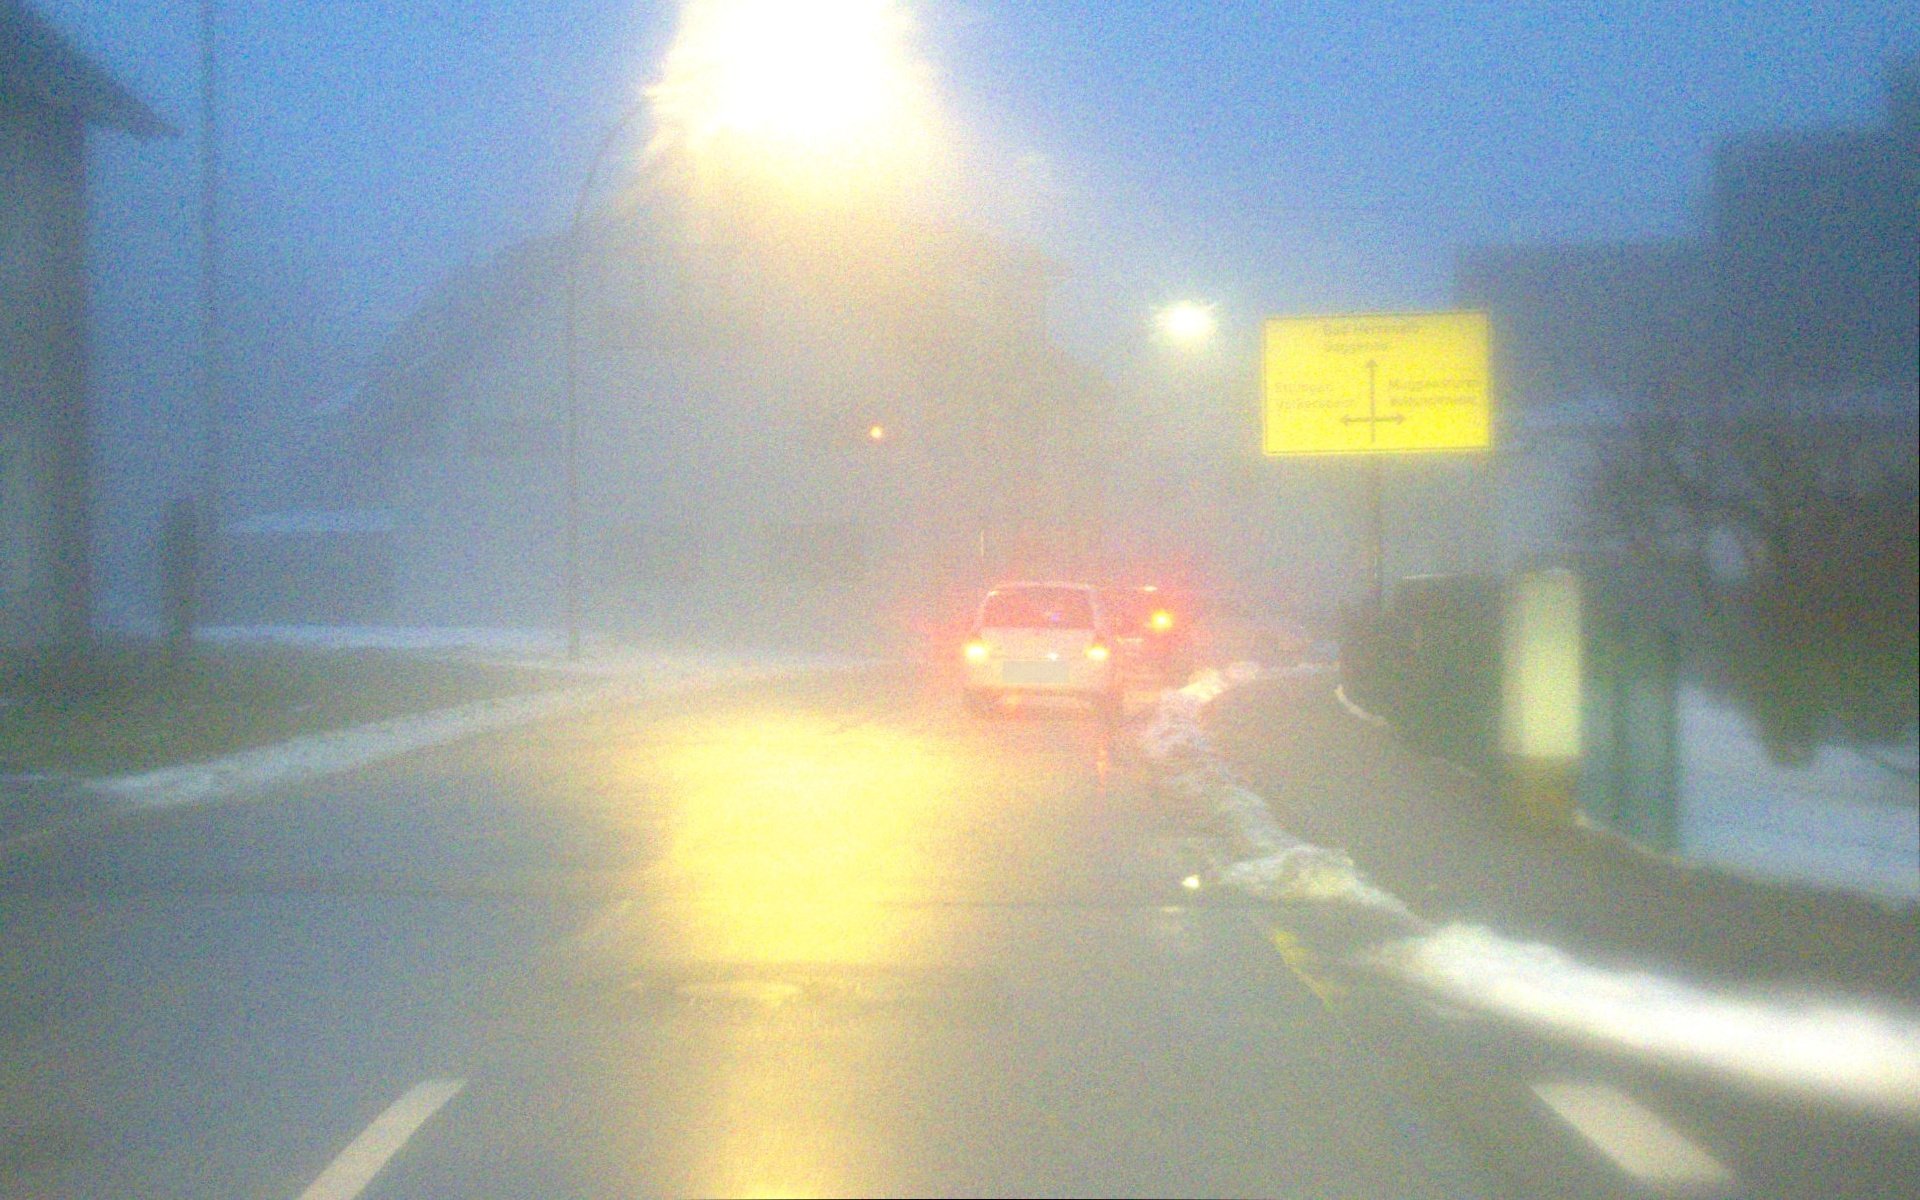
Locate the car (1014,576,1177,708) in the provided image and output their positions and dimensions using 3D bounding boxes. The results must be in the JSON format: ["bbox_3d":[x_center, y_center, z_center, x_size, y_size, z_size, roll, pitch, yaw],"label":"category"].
[{"bbox_3d":[2.193,0.630,54.509,1.994,1.831,3.999,-2,2,10],"label":"car"}]

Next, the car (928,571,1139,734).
[{"bbox_3d":[0.859,0.524,37.367,1.994,1.503,4.000,-2,2,5],"label":"car"}]
